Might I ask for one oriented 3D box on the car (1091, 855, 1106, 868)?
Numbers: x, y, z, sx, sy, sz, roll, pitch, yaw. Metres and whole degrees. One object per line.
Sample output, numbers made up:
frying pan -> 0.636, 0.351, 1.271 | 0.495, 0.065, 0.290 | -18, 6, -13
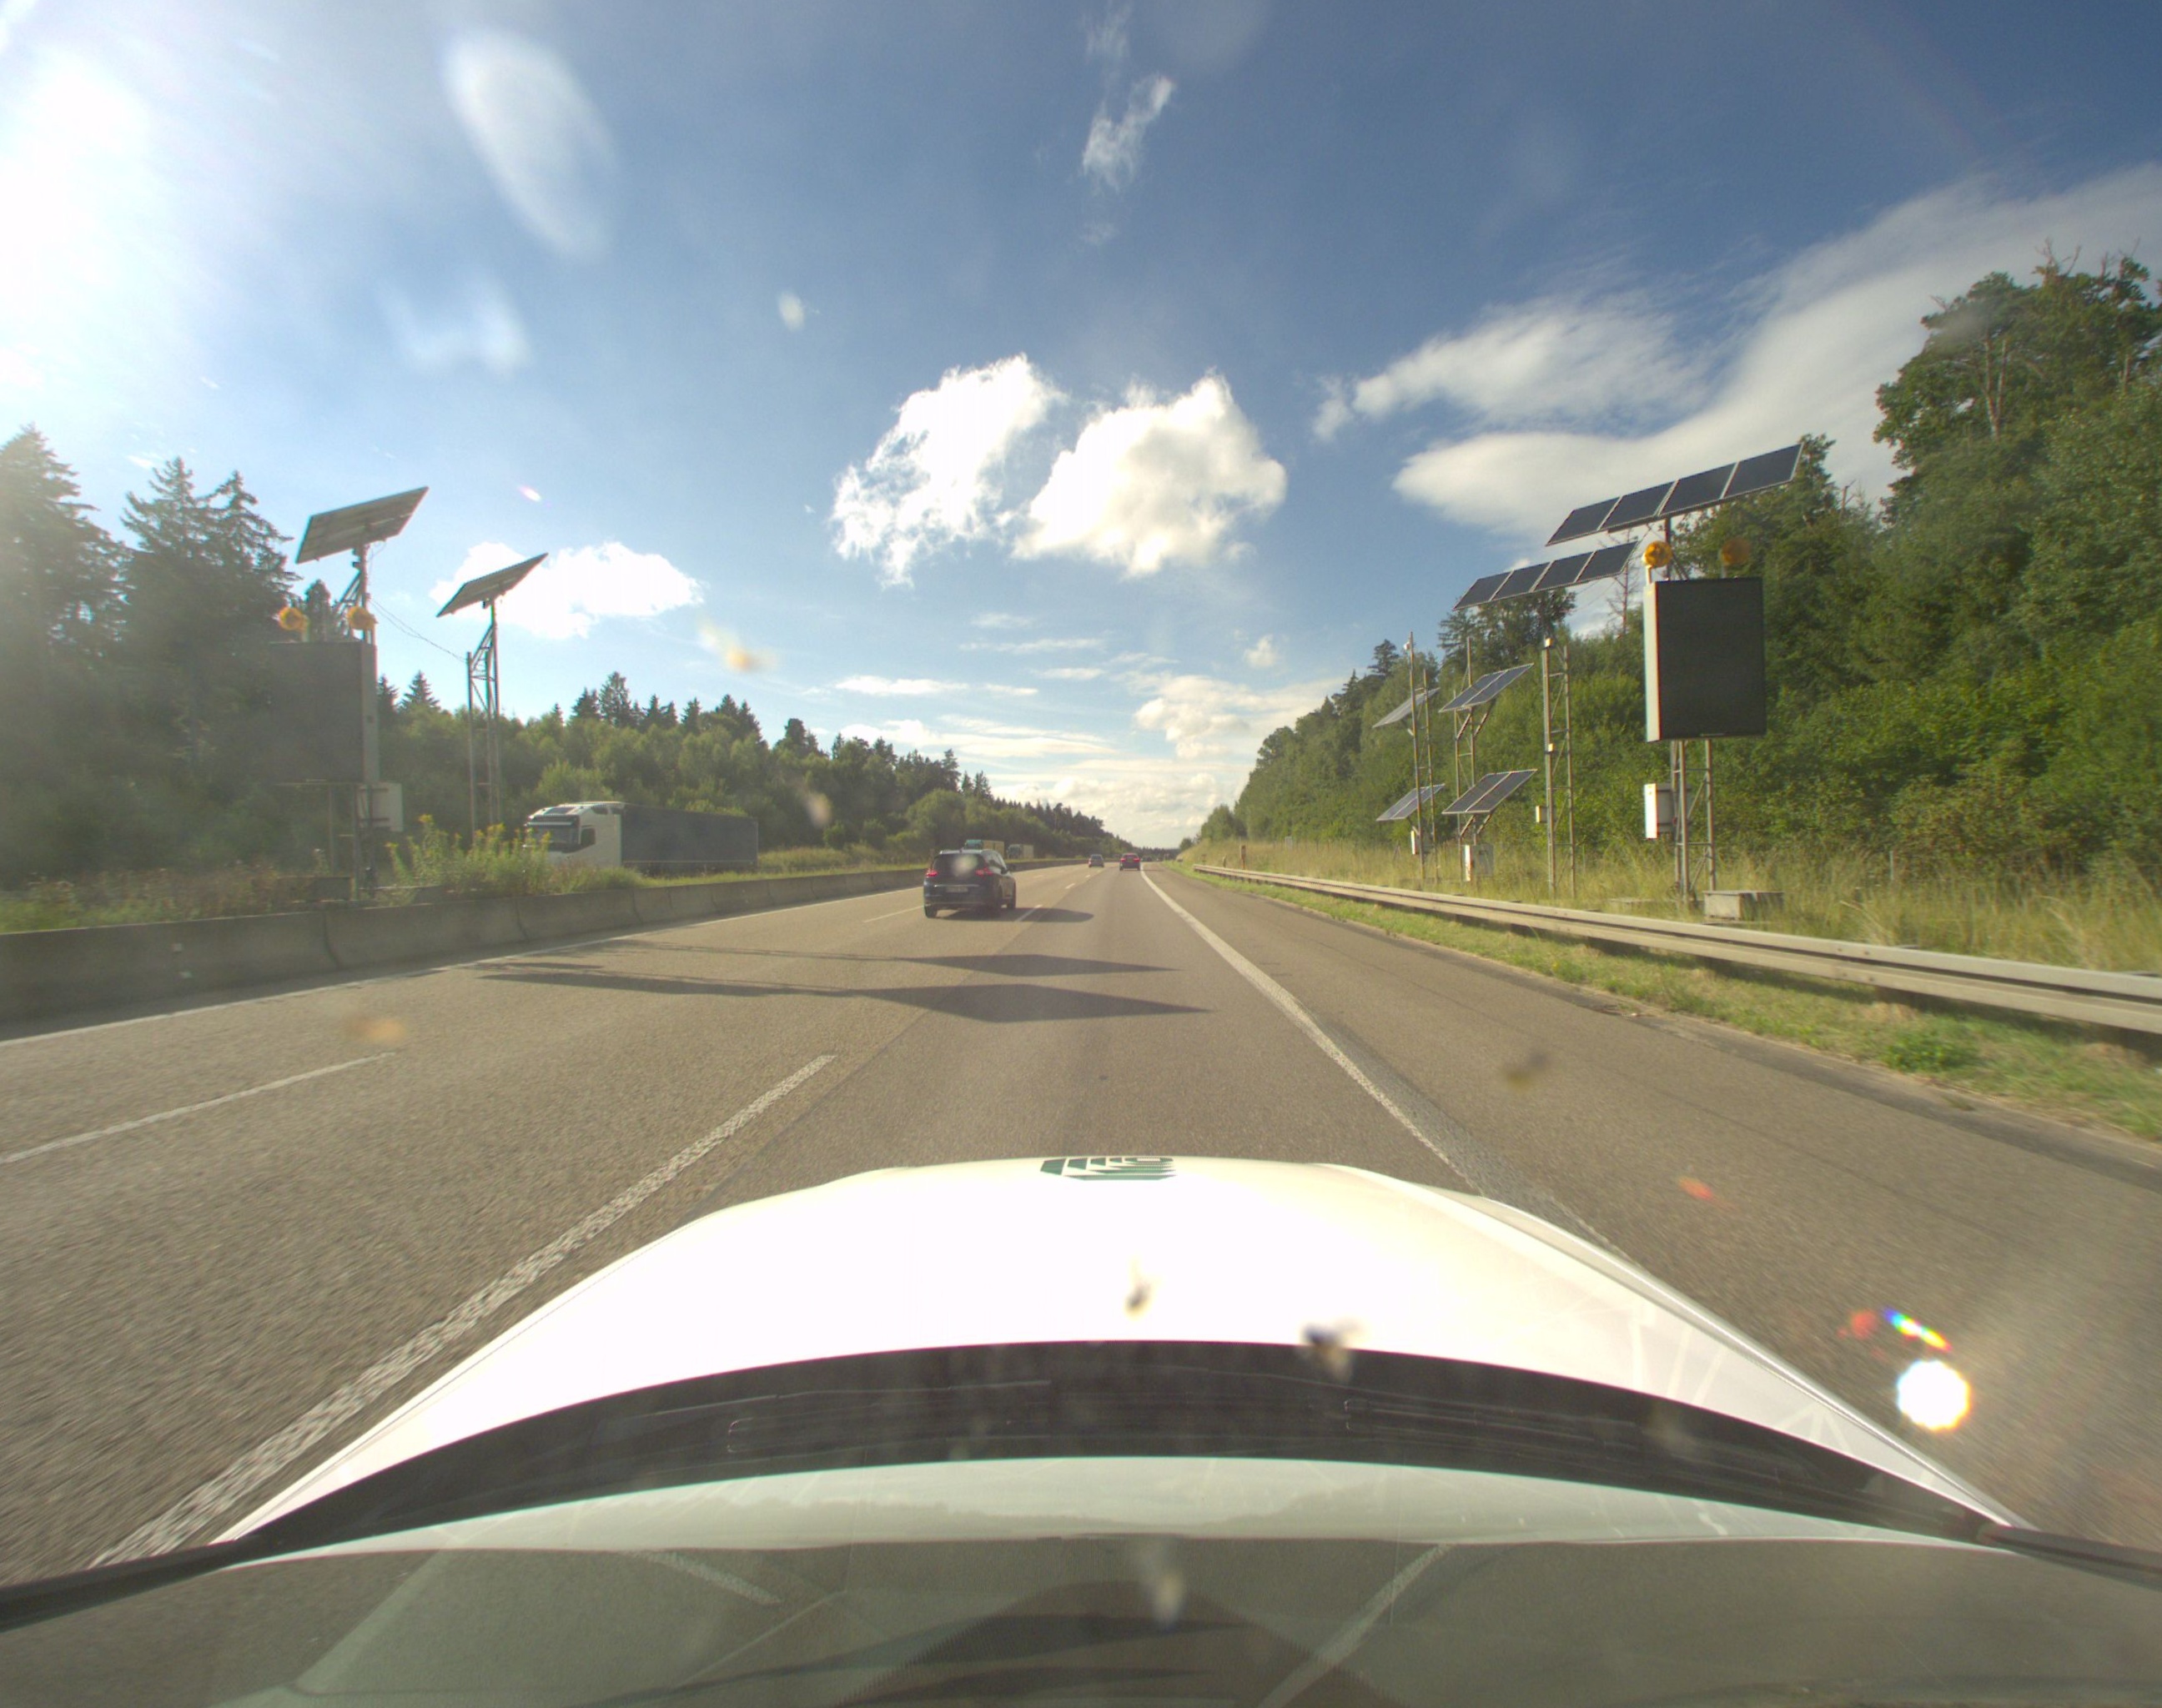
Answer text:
car -> 2.111, 0.867, 99.373 | 1.867, 1.497, 3.880 | 0, 1, 0

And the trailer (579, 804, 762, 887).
trailer -> -21.069, -0.383, 43.263 | 2.269, 3.728, 13.286 | -1, 0, 3

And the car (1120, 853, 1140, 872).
car -> 4.663, 0.785, 77.174 | 1.865, 1.675, 3.894 | 0, 1, 4

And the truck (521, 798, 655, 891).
truck -> -21.493, -0.378, 35.845 | 2.269, 3.728, 5.536 | -1, 0, 3

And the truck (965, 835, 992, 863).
truck -> -15.345, -0.763, 121.814 | 2.637, 4.086, 6.425 | -1, 0, 5

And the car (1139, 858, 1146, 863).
car -> 18.271, 1.983, 242.720 | 1.863, 1.497, 3.889 | 0, 1, 8

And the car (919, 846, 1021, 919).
car -> -2.797, 0.672, 21.621 | 1.986, 1.707, 4.530 | -1, 0, 1

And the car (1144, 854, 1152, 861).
car -> 18.185, 0.954, 221.509 | 1.805, 1.706, 4.002 | -1, 1, 2

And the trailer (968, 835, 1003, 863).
trailer -> -14.838, -0.784, 127.595 | 2.637, 4.086, 13.220 | -1, 0, 5
